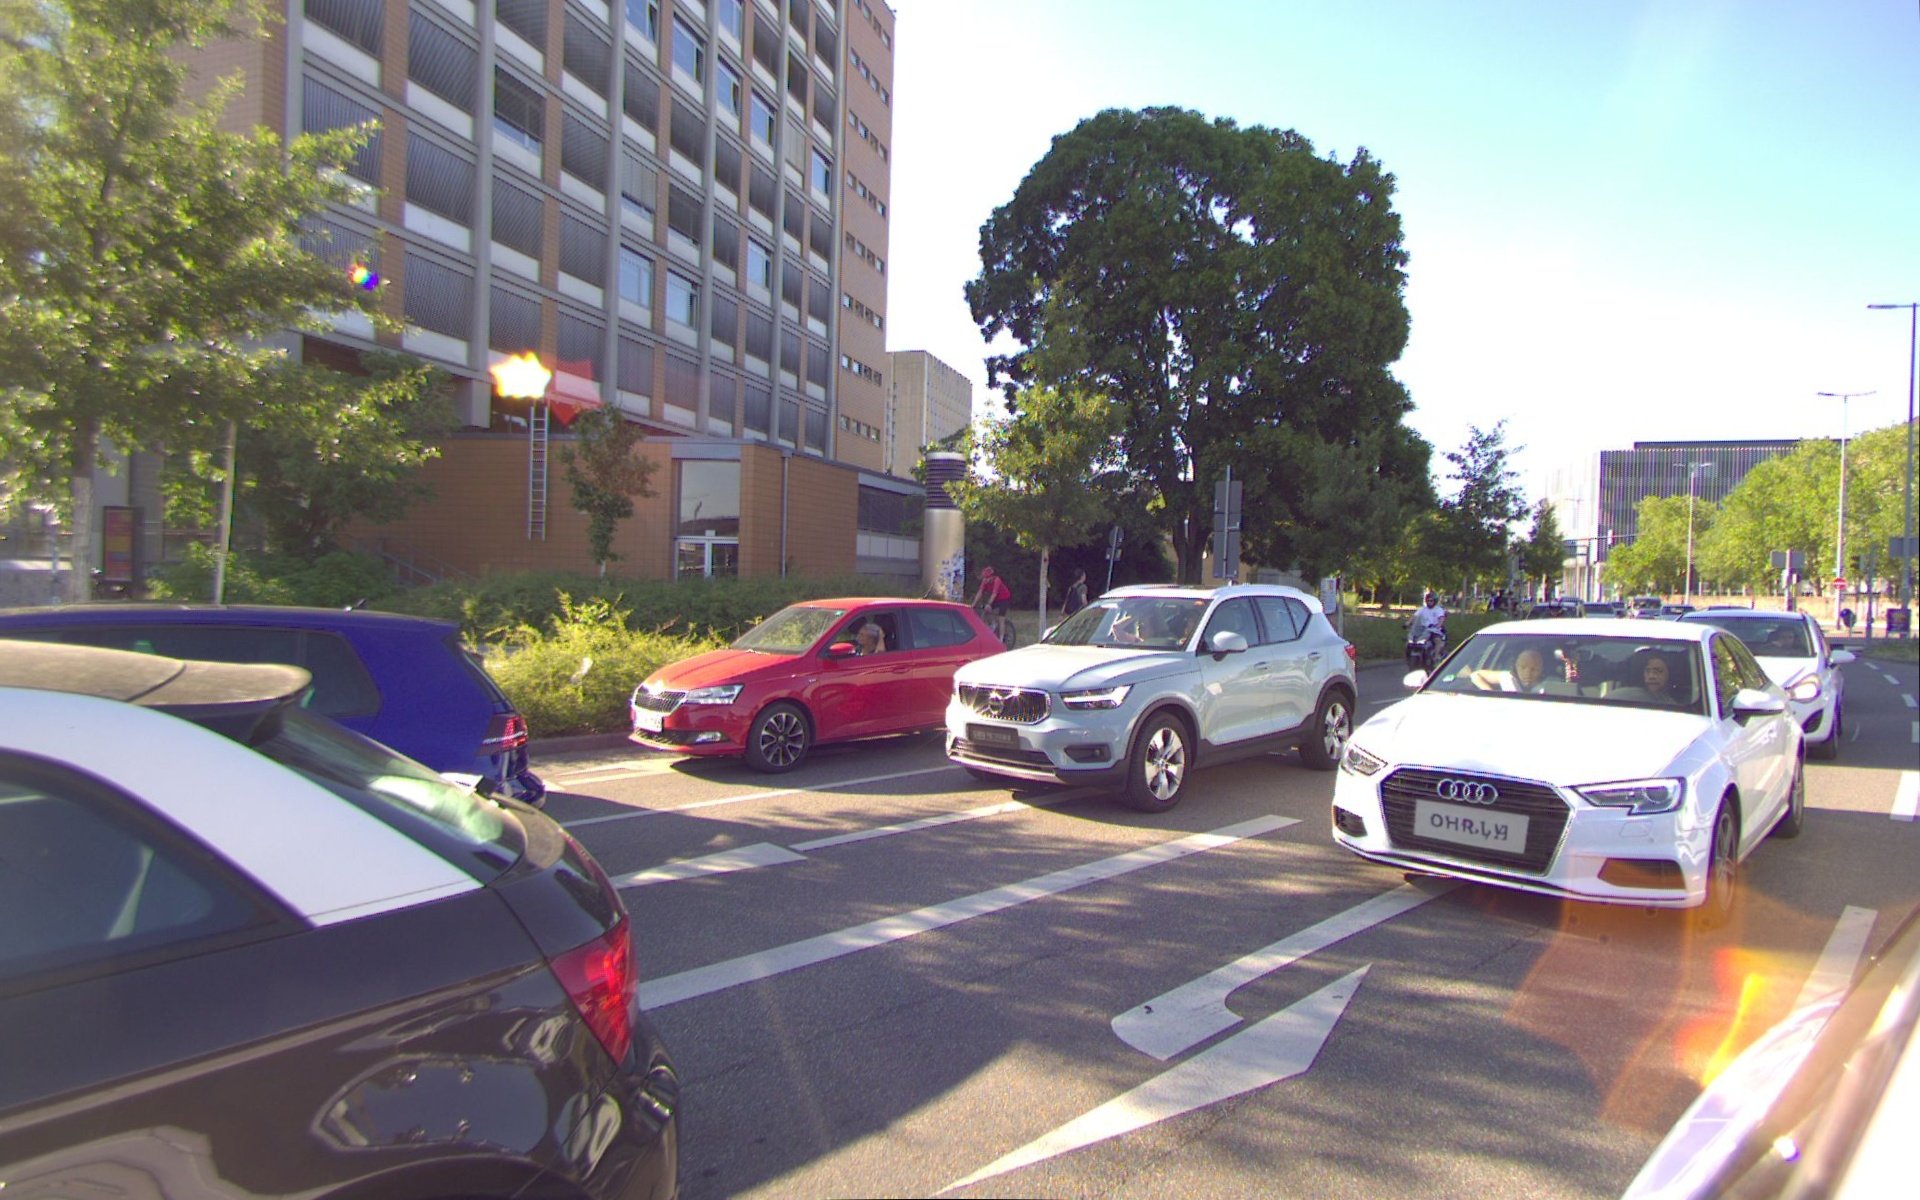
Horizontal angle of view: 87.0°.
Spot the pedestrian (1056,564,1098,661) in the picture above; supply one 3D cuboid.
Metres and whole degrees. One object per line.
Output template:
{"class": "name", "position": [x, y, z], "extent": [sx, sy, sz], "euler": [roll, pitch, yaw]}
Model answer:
{"class": "pedestrian", "position": [2.332, 0.242, 20.242], "extent": [0.681, 1.910, 0.465], "euler": [0, 0, -24]}

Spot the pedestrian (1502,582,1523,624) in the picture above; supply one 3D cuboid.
{"class": "pedestrian", "position": [21.385, 0.122, 39.161], "extent": [0.593, 1.615, 0.586], "euler": [0, 0, 41]}

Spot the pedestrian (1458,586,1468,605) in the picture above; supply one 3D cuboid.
{"class": "pedestrian", "position": [54.999, -0.456, 110.678], "extent": [0.828, 2.039, 1.061], "euler": [0, 0, 19]}

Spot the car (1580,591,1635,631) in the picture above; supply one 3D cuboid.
{"class": "car", "position": [27.612, 0.438, 43.255], "extent": [1.732, 1.564, 3.958], "euler": [2, 1, 30]}

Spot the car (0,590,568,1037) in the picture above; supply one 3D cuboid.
{"class": "car", "position": [-3.721, 0.686, 3.751], "extent": [3.930, 1.422, 1.626], "euler": [-1, 0, -41]}

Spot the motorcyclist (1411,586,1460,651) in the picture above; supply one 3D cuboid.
{"class": "motorcyclist", "position": [9.927, 0.372, 21.137], "extent": [0.716, 1.321, 0.723], "euler": [0, 0, 45]}

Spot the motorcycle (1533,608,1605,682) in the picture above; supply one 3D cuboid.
{"class": "motorcycle", "position": [11.844, 0.829, 19.645], "extent": [0.716, 1.321, 2.199], "euler": [0, 0, 44]}

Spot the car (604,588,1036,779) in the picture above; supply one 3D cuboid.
{"class": "car", "position": [-1.198, 0.631, 9.832], "extent": [3.974, 1.478, 1.625], "euler": [-1, 0, -43]}

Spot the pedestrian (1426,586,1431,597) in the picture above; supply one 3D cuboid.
{"class": "pedestrian", "position": [63.098, -1.137, 136.331], "extent": [0.477, 1.504, 0.409], "euler": [1, 1, -41]}

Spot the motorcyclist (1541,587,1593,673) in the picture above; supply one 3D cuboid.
{"class": "motorcyclist", "position": [11.677, 0.557, 19.478], "extent": [0.709, 1.610, 0.679], "euler": [0, 0, 45]}

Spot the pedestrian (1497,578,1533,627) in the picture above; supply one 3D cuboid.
{"class": "pedestrian", "position": [23.690, 0.101, 43.201], "extent": [1.137, 2.039, 1.268], "euler": [0, 0, 39]}

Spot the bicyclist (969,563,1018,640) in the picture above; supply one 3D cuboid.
{"class": "bicyclist", "position": [0.715, 0.023, 21.438], "extent": [0.615, 1.580, 0.858], "euler": [0, 0, 42]}

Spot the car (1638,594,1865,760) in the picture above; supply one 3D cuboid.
{"class": "car", "position": [8.867, 0.690, 11.212], "extent": [1.623, 1.478, 3.979], "euler": [0, 1, 43]}

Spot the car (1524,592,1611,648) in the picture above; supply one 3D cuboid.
{"class": "car", "position": [18.601, 0.553, 30.905], "extent": [1.738, 1.544, 3.943], "euler": [2, 2, 39]}

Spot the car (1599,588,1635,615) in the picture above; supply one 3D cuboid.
{"class": "car", "position": [45.259, 0.077, 69.788], "extent": [1.730, 1.727, 3.961], "euler": [2, 1, 28]}

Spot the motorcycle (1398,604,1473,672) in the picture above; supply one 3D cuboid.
{"class": "motorcycle", "position": [9.845, 0.750, 20.915], "extent": [0.716, 1.321, 2.199], "euler": [0, 0, 44]}

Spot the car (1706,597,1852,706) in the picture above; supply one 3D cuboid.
{"class": "car", "position": [13.106, 0.712, 16.106], "extent": [1.622, 1.478, 3.981], "euler": [0, 0, 42]}

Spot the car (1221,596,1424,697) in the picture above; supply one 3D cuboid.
{"class": "car", "position": [6.238, 0.682, 17.160], "extent": [1.750, 1.478, 4.123], "euler": [0, 1, 43]}

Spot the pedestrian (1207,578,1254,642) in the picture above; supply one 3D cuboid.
{"class": "pedestrian", "position": [7.550, 0.255, 28.206], "extent": [1.005, 1.742, 0.873], "euler": [0, 0, 39]}

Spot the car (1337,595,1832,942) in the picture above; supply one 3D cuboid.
{"class": "car", "position": [3.939, 0.691, 6.107], "extent": [3.769, 1.422, 1.625], "euler": [-1, 0, -43]}

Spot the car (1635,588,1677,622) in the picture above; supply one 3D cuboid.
{"class": "car", "position": [39.999, 0.234, 58.178], "extent": [1.867, 1.838, 3.950], "euler": [2, 1, 35]}

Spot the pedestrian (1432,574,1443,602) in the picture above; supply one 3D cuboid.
{"class": "pedestrian", "position": [27.579, -0.694, 58.446], "extent": [0.543, 1.627, 0.598], "euler": [0, 0, 30]}

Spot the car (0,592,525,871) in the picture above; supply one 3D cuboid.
{"class": "car", "position": [-5.195, 0.673, 6.101], "extent": [4.433, 1.422, 1.726], "euler": [-1, 0, -41]}

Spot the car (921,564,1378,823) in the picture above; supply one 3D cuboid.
{"class": "car", "position": [1.767, 0.570, 8.447], "extent": [4.153, 1.641, 1.625], "euler": [-1, 0, -43]}

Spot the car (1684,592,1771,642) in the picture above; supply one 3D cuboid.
{"class": "car", "position": [26.148, 0.525, 34.611], "extent": [1.731, 1.564, 3.960], "euler": [2, 1, 29]}

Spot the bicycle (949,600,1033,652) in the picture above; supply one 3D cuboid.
{"class": "bicycle", "position": [0.672, 0.524, 21.398], "extent": [0.657, 0.975, 2.005], "euler": [2, 2, 41]}

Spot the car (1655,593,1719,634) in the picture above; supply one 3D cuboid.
{"class": "car", "position": [32.906, 0.575, 45.902], "extent": [1.730, 1.727, 3.962], "euler": [2, 1, 27]}

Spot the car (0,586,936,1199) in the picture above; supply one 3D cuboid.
{"class": "car", "position": [-2.054, 0.701, 1.245], "extent": [3.930, 1.422, 1.626], "euler": [-1, 0, -41]}
